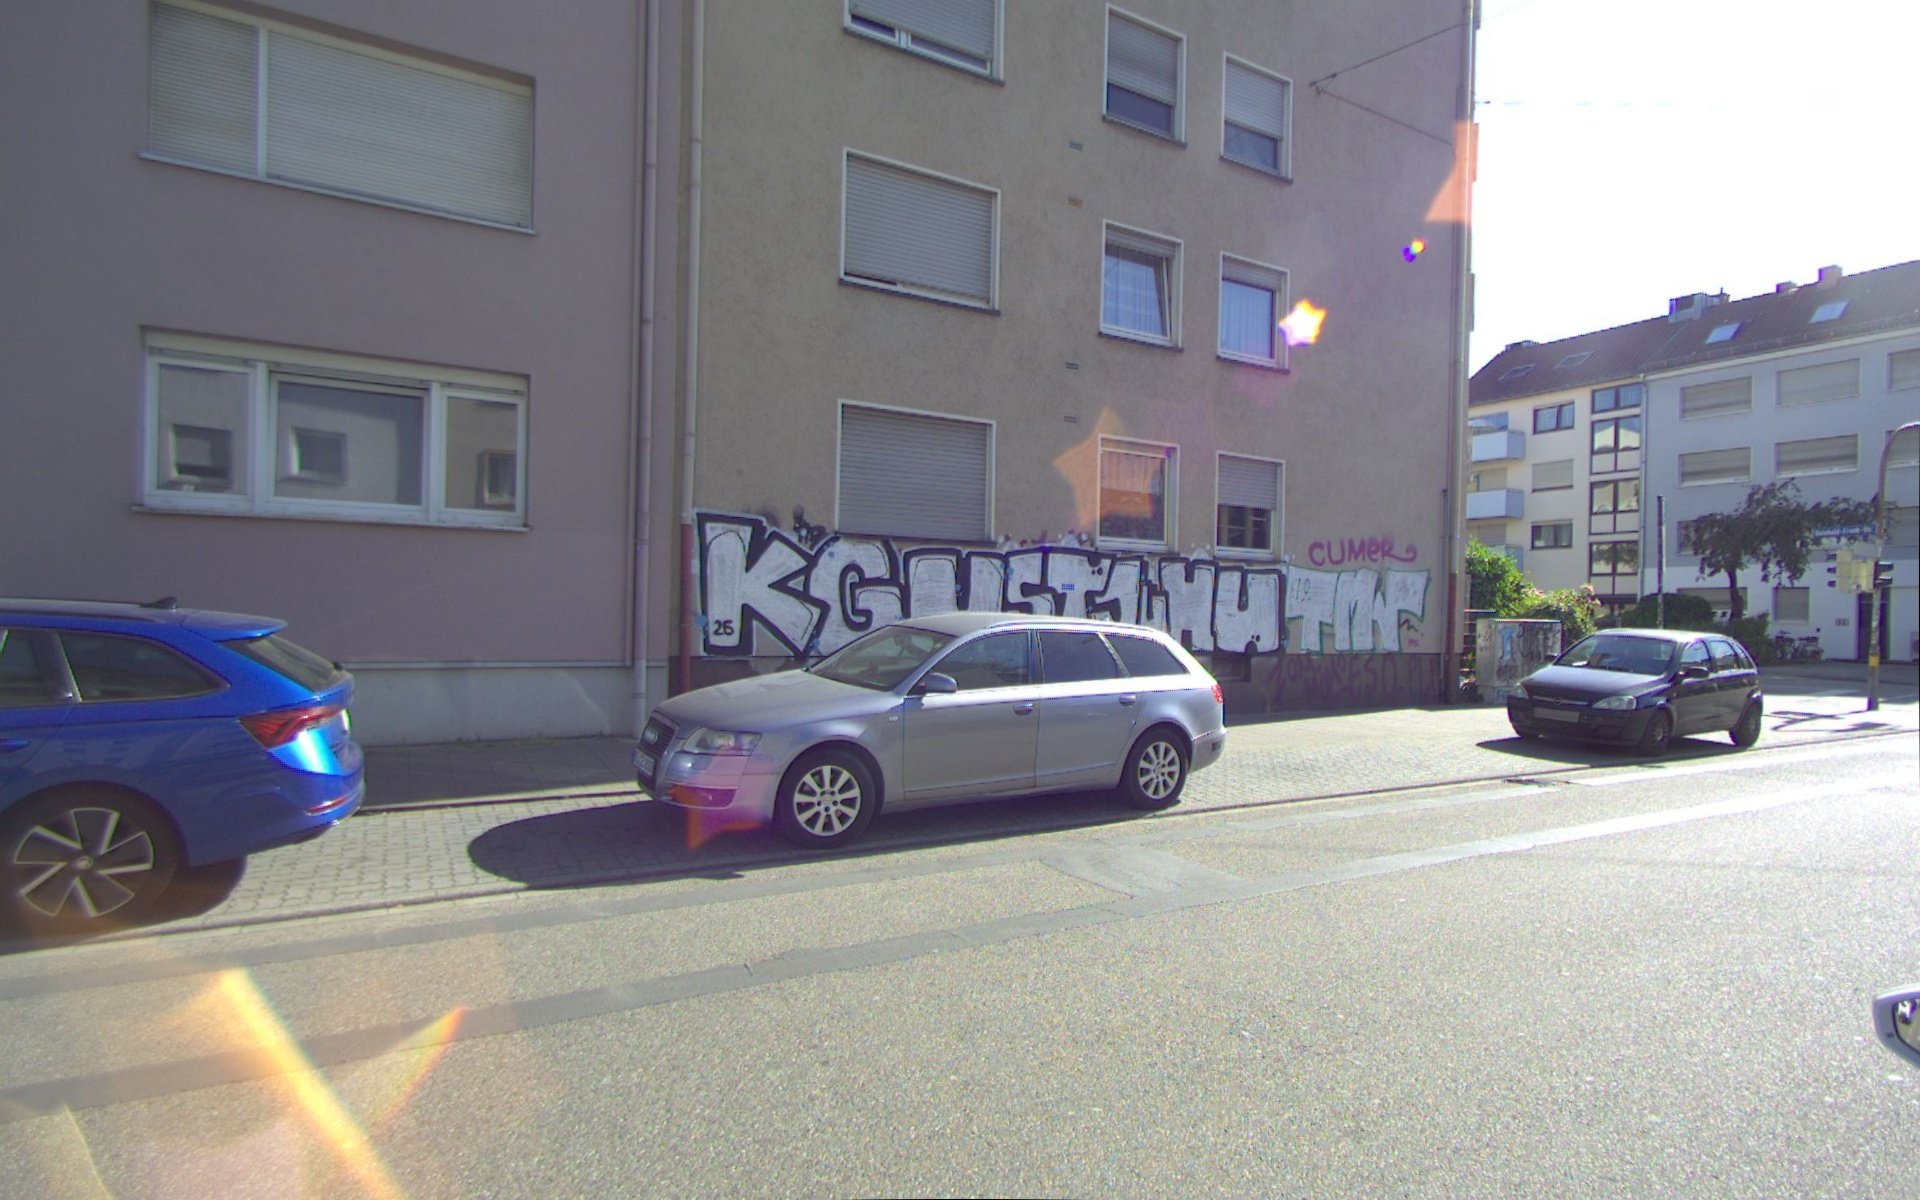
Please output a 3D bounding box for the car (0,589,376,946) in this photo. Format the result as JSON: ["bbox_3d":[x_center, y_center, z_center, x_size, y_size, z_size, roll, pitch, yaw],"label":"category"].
[{"bbox_3d":[-5.348,0.707,4.617,4.559,1.485,1.708,1,2,-31],"label":"car"}]

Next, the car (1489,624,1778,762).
[{"bbox_3d":[8.613,1.088,12.800,3.667,1.444,1.608,1,1,-31],"label":"car"}]

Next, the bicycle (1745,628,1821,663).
[{"bbox_3d":[29.777,1.643,36.391,2.068,1.188,0.738,0,-1,37],"label":"bicycle"}]

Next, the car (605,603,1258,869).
[{"bbox_3d":[-0.063,0.827,7.679,4.759,1.485,1.709,1,0,-31],"label":"car"}]
